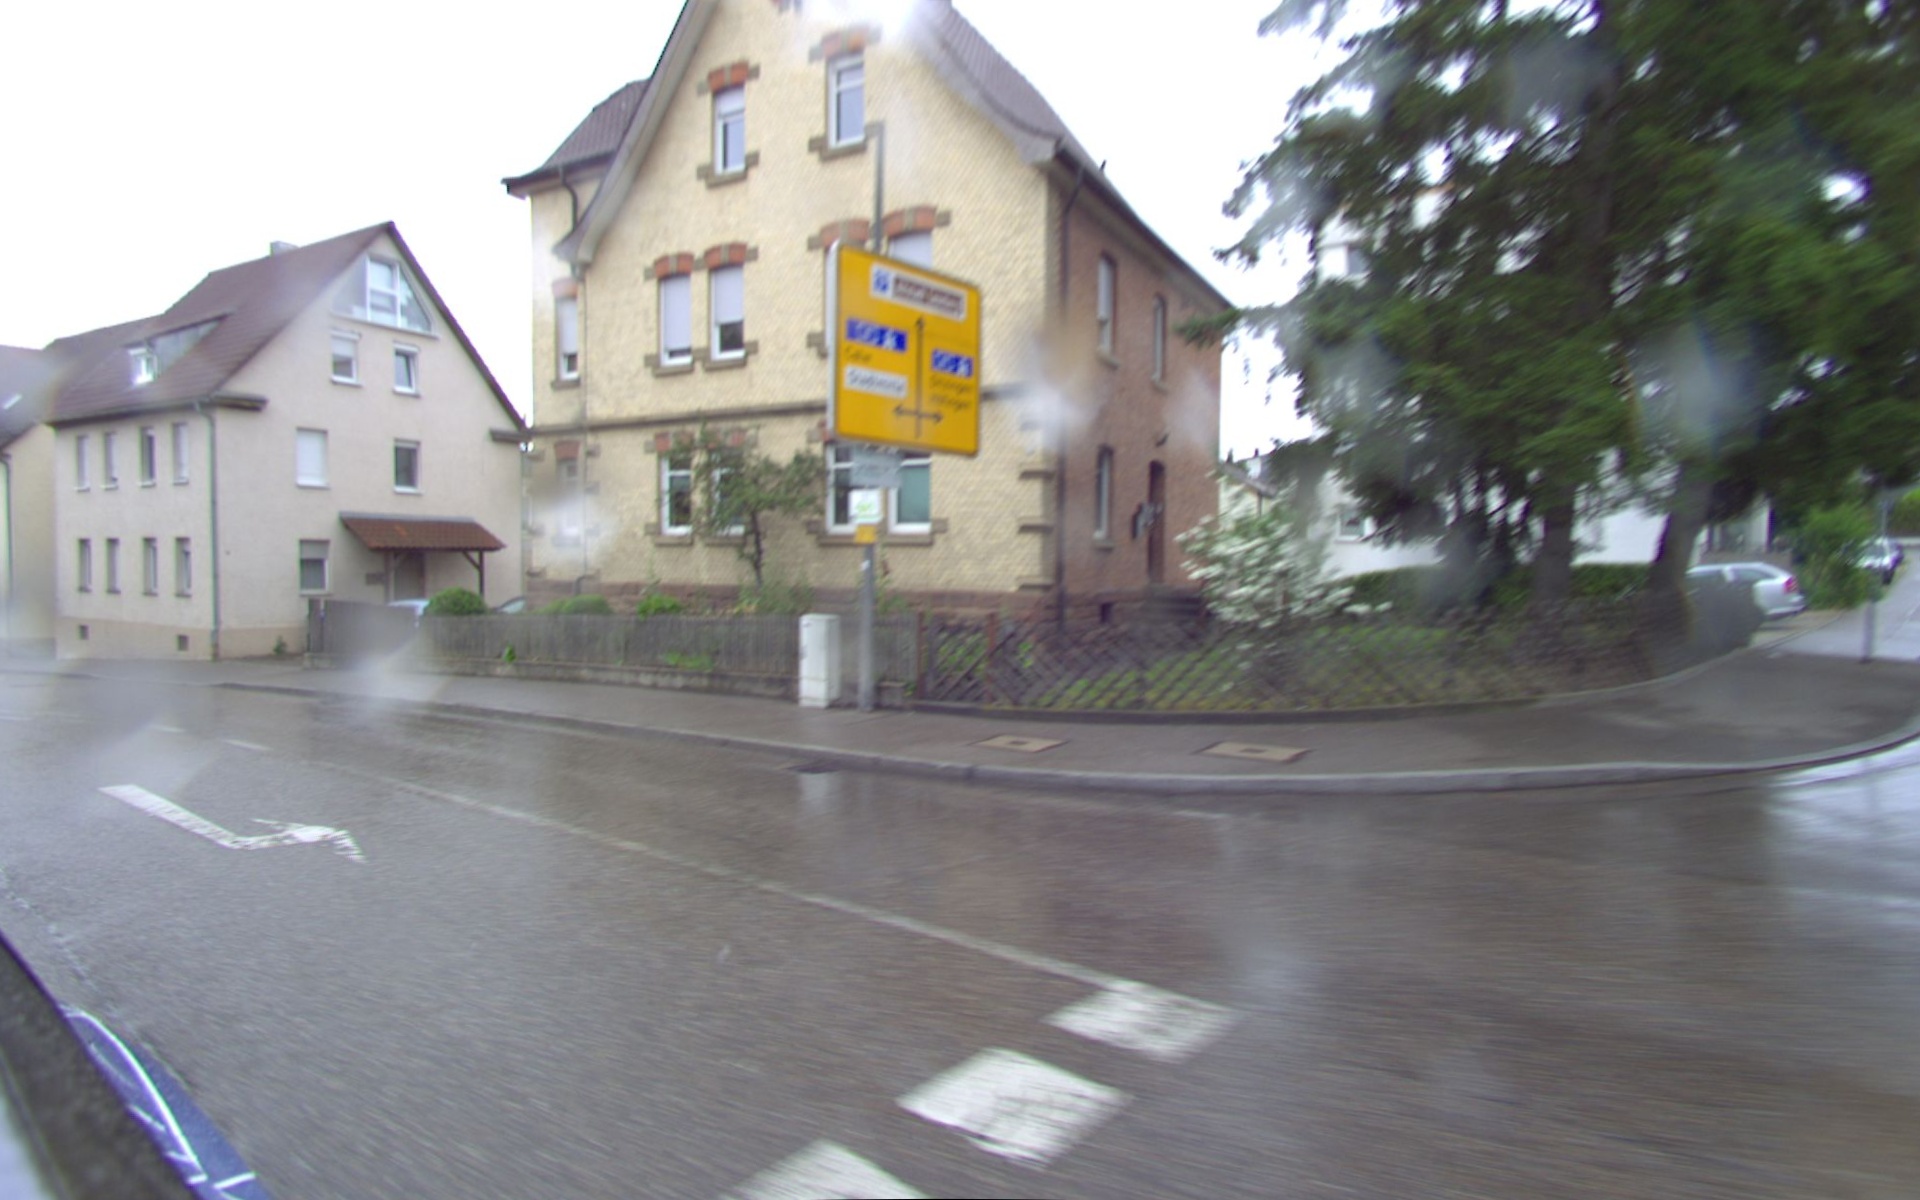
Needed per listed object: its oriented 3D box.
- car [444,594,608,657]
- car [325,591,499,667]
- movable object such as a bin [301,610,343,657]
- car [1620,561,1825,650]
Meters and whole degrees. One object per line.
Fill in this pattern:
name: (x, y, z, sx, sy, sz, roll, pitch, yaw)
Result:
car: (-10.783, 0.633, 25.113, 3.867, 1.377, 1.759, -2, 1, 30)
car: (-12.489, 0.661, 23.028, 3.869, 1.514, 1.758, -2, 1, 32)
movable object such as a bin: (-17.674, 0.930, 28.036, 0.647, 1.256, 0.751, -1, 0, 30)
car: (16.293, 0.138, 21.843, 3.374, 1.779, 1.804, -1, 0, 34)
